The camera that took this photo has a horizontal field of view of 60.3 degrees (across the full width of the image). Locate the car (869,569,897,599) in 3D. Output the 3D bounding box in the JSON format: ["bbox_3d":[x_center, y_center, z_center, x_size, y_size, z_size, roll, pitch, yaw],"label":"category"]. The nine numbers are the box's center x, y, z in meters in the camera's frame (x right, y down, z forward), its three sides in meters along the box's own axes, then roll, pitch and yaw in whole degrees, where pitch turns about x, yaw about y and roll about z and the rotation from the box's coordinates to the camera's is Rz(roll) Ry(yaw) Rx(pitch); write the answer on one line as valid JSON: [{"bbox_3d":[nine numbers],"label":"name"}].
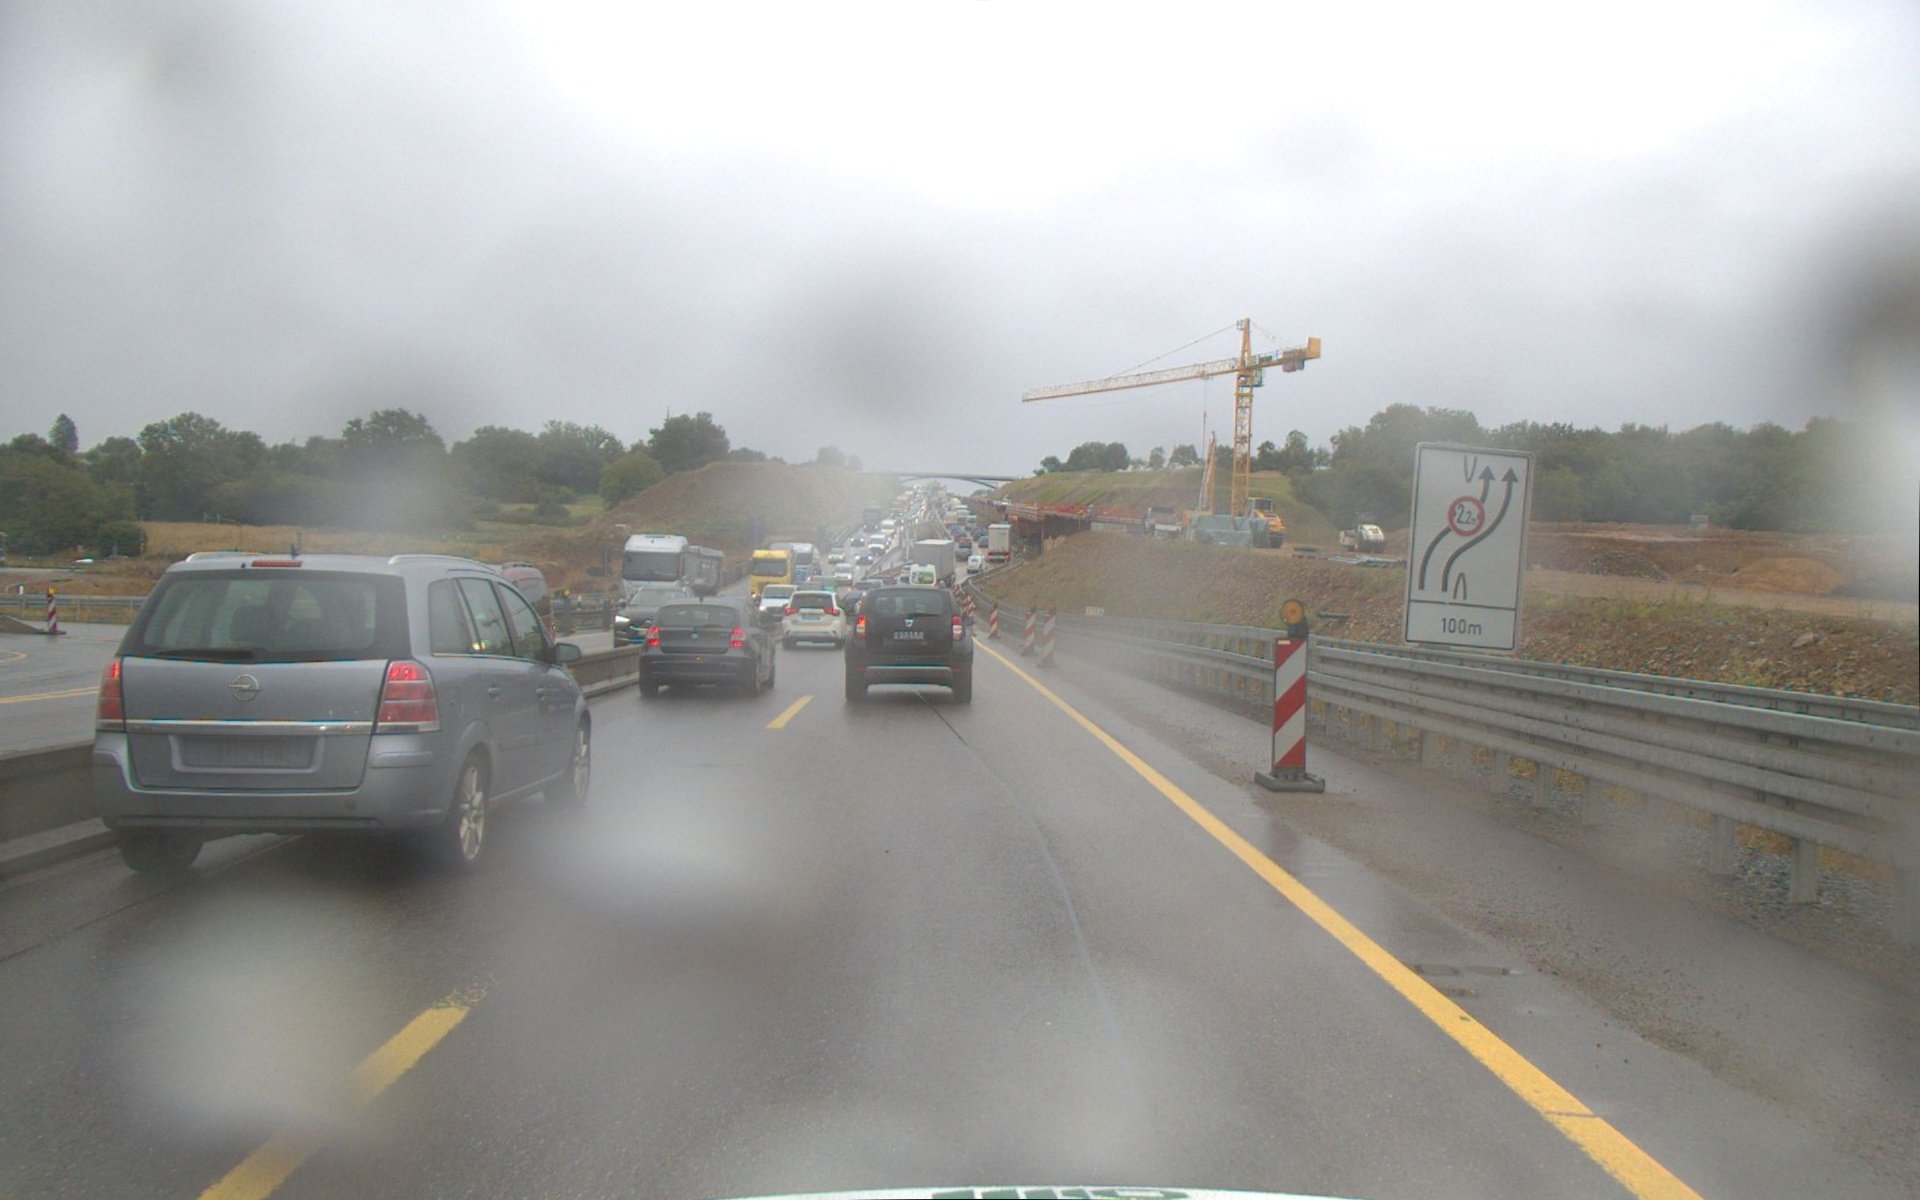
[{"bbox_3d":[-5.794,-1.167,124.230,1.953,2.200,4.139,1,0,-1],"label":"car"}]

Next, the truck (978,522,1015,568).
[{"bbox_3d":[4.380,-6.609,201.258,3.727,5.130,12.916,1,0,-2],"label":"truck"}]

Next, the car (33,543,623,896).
[{"bbox_3d":[-3.391,0.559,9.853,1.953,1.628,4.140,1,0,-1],"label":"car"}]

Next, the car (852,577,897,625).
[{"bbox_3d":[-4.104,0.027,78.770,1.954,2.200,4.136,1,0,-5],"label":"car"}]

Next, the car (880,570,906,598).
[{"bbox_3d":[-5.436,-1.315,134.914,1.953,2.200,4.139,1,0,-1],"label":"car"}]

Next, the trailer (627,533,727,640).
[{"bbox_3d":[-11.370,-0.533,67.316,2.631,4.033,9.816,0,0,-2],"label":"trailer"}]

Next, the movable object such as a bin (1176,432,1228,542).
[{"bbox_3d":[26.063,-11.997,177.682,4.618,11.031,10.312,1,0,13],"label":"movable object such as a bin"}]

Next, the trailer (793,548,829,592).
[{"bbox_3d":[-13.433,-2.665,150.112,2.568,3.742,11.998,1,0,-2],"label":"trailer"}]

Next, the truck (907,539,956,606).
[{"bbox_3d":[-2.408,-2.285,142.673,3.036,5.521,9.449,1,0,6],"label":"truck"}]

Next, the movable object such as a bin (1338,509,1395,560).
[{"bbox_3d":[31.311,-5.011,127.642,2.295,3.662,6.554,1,0,-5],"label":"movable object such as a bin"}]

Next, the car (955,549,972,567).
[{"bbox_3d":[0.417,-5.046,198.402,1.953,2.048,3.999,0,2,-2],"label":"car"}]

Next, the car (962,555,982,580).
[{"bbox_3d":[1.288,-3.446,175.862,1.953,2.527,4.740,1,0,-1],"label":"car"}]

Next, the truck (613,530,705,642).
[{"bbox_3d":[-11.232,-0.510,62.089,2.632,3.995,5.272,0,0,-2],"label":"truck"}]

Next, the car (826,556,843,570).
[{"bbox_3d":[-14.358,-4.259,188.990,1.752,1.573,3.999,1,1,-2],"label":"car"}]

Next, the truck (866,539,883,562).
[{"bbox_3d":[-10.714,-6.203,208.337,2.037,2.621,5.959,1,0,-2],"label":"truck"}]

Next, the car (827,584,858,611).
[{"bbox_3d":[-8.148,-0.175,115.182,1.953,1.790,4.686,1,0,-2],"label":"car"}]

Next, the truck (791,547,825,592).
[{"bbox_3d":[-13.212,-2.642,144.335,2.568,3.742,6.592,1,0,-2],"label":"truck"}]

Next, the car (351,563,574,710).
[{"bbox_3d":[-6.726,0.399,22.914,1.809,1.778,4.842,-1,1,-3],"label":"car"}]

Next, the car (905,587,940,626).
[{"bbox_3d":[-2.200,0.391,97.224,1.953,2.200,4.140,1,0,-1],"label":"car"}]

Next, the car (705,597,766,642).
[{"bbox_3d":[-7.764,0.646,57.463,1.675,1.479,3.999,1,0,-2],"label":"car"}]

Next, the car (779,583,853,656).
[{"bbox_3d":[-4.213,0.544,48.906,1.953,2.049,3.892,1,0,-2],"label":"car"}]

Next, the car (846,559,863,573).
[{"bbox_3d":[-12.065,-3.903,189.527,1.737,1.530,4.677,1,1,-2],"label":"car"}]

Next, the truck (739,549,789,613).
[{"bbox_3d":[-13.043,-1.259,110.572,2.694,4.133,6.146,1,0,-2],"label":"truck"}]

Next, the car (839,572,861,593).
[{"bbox_3d":[-9.887,-1.548,149.033,1.828,1.831,4.161,1,0,-2],"label":"car"}]

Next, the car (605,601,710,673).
[{"bbox_3d":[-7.614,0.897,42.048,1.953,1.684,4.468,0,0,-2],"label":"car"}]

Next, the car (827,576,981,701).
[{"bbox_3d":[-0.781,0.507,24.214,2.039,1.628,4.140,1,0,-1],"label":"car"}]

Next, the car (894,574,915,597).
[{"bbox_3d":[-5.295,-1.391,159.184,1.953,2.200,4.139,1,0,-1],"label":"car"}]

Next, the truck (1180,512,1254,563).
[{"bbox_3d":[16.617,-4.019,107.665,3.326,2.925,8.959,1,0,0],"label":"truck"}]

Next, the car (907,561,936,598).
[{"bbox_3d":[-2.788,-1.458,119.311,1.953,2.527,4.980,1,0,-2],"label":"car"}]

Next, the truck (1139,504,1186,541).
[{"bbox_3d":[15.890,-6.073,130.144,2.592,2.599,6.981,1,0,-2],"label":"truck"}]

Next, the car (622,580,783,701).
[{"bbox_3d":[-3.758,0.546,24.808,1.954,1.628,4.138,1,0,-3],"label":"car"}]

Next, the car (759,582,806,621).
[{"bbox_3d":[-8.567,0.070,80.036,1.837,1.824,5.357,1,0,-2],"label":"car"}]
